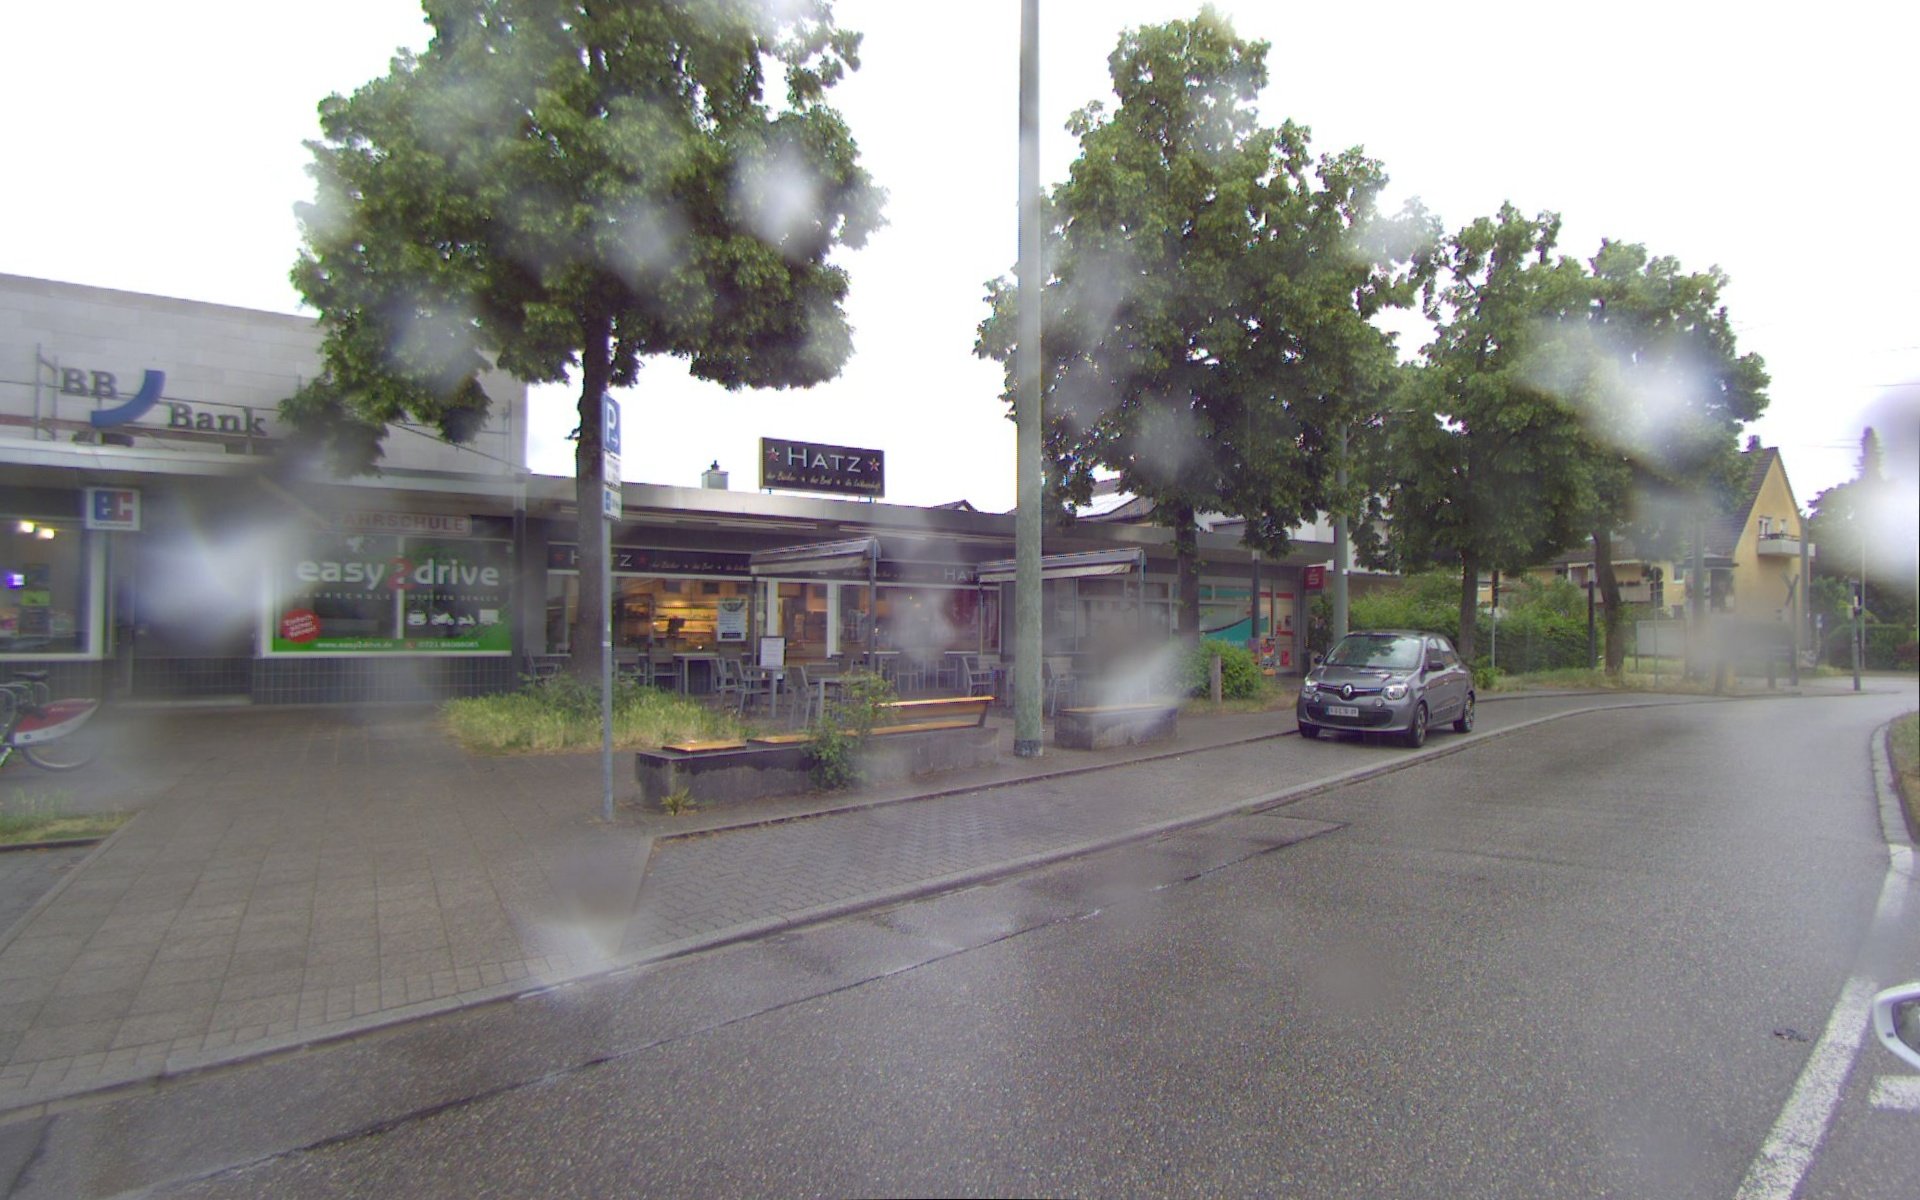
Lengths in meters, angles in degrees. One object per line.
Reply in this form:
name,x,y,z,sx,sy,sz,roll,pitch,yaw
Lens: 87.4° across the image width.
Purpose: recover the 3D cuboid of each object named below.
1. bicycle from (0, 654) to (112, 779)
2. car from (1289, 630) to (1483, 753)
bicycle,-9.005,1.084,9.289,0.314,1.122,1.739,2,0,43
car,6.377,1.234,14.841,1.598,1.516,3.649,2,0,40
